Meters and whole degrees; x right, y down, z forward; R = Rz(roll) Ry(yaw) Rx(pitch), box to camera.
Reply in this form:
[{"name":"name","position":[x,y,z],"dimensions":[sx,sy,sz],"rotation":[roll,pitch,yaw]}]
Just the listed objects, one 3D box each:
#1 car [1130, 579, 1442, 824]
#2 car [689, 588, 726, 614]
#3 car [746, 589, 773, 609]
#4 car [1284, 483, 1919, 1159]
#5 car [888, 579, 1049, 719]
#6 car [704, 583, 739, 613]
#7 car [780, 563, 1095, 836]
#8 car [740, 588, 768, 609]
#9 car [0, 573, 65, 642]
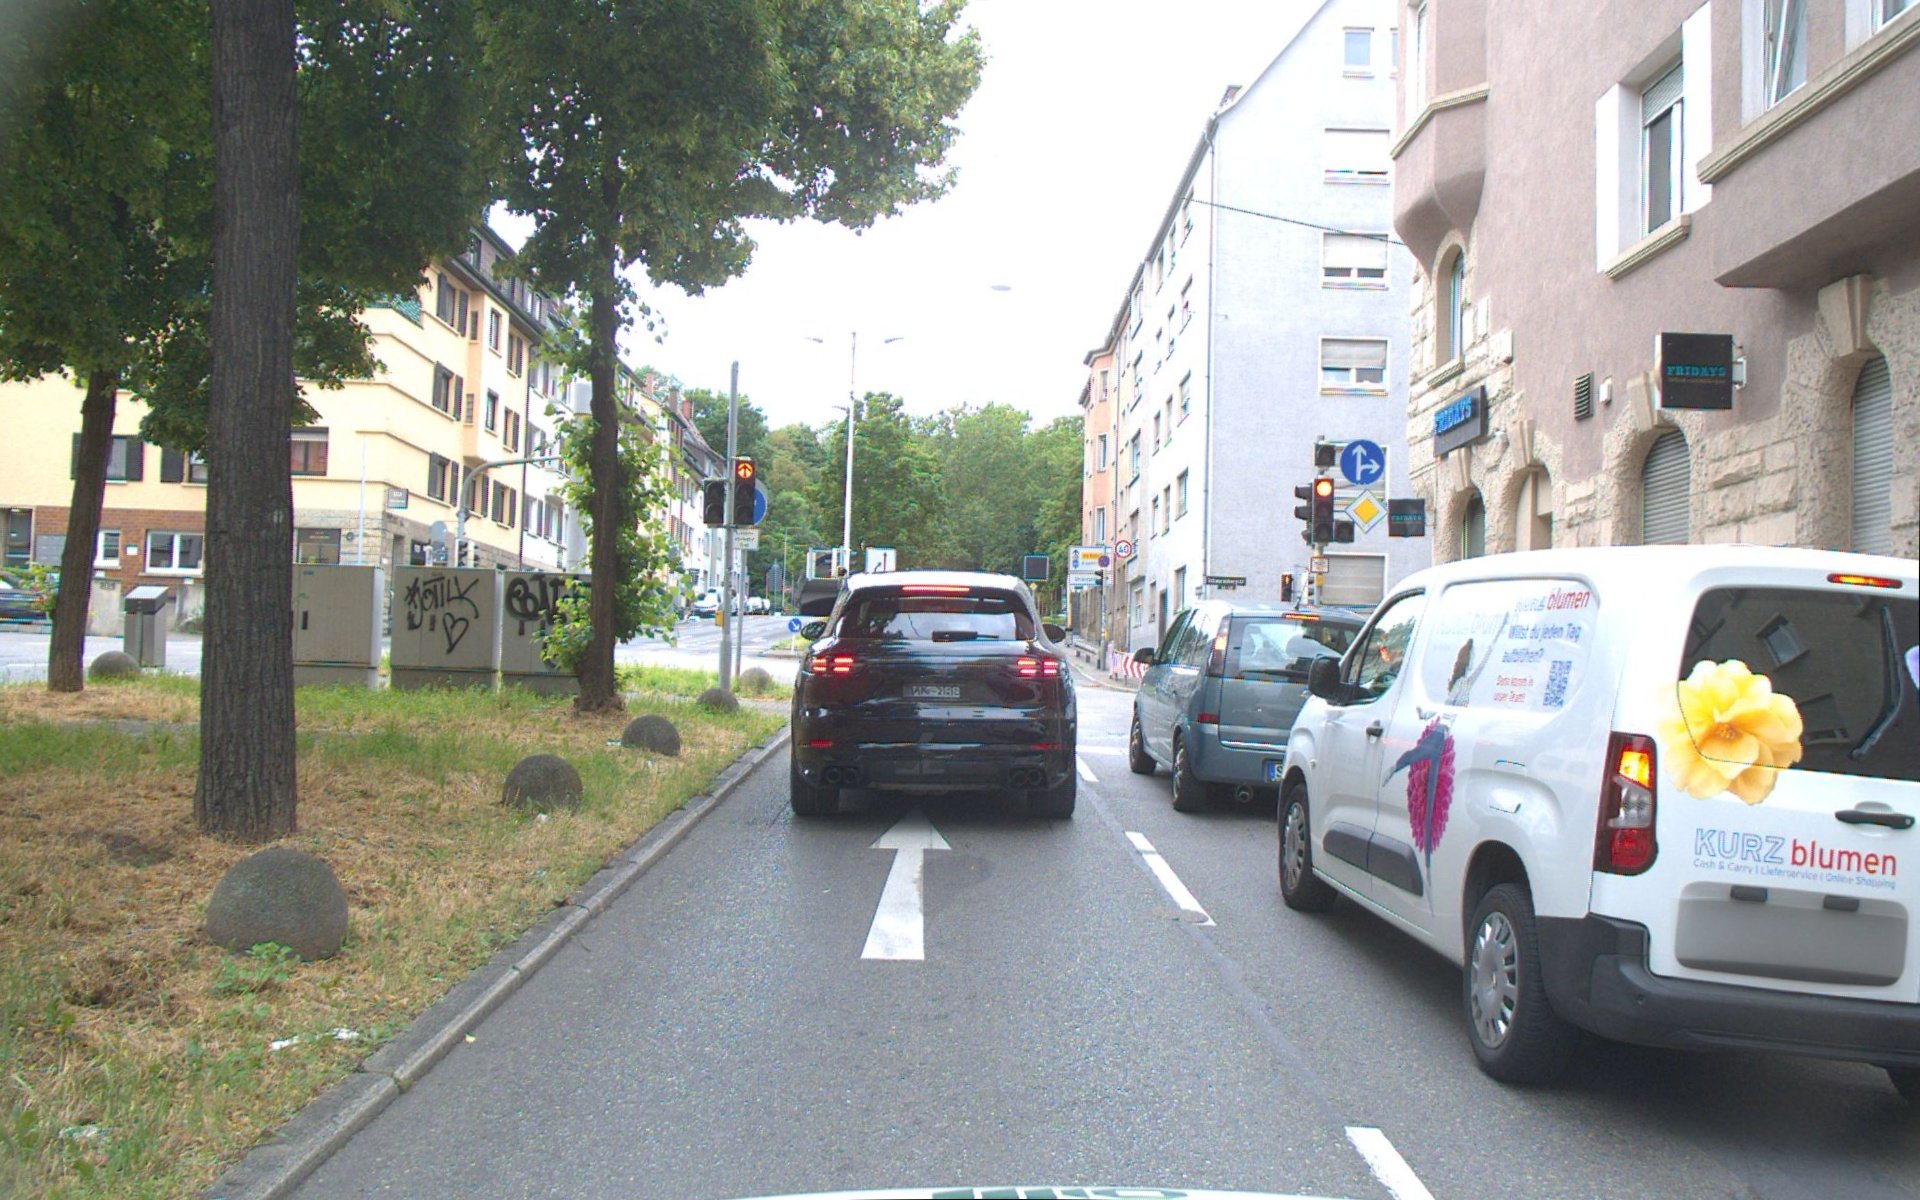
[{"name":"car","position":[2.500,0.727,13.539],"dimensions":[1.717,1.621,3.630],"rotation":[4,0,-1]},{"name":"car","position":[-15.830,0.051,103.866],"dimensions":[1.758,1.536,3.999],"rotation":[2,0,-2]},{"name":"car","position":[-16.370,-0.121,135.165],"dimensions":[1.758,1.536,3.999],"rotation":[2,0,-2]},{"name":"car","position":[2.687,0.694,7.183],"dimensions":[1.811,1.857,5.022],"rotation":[2,-1,4]},{"name":"car","position":[0.123,0.613,22.168],"dimensions":[1.953,1.682,4.000],"rotation":[1,0,0]},{"name":"car","position":[-15.688,-0.143,108.894],"dimensions":[1.758,1.841,3.999],"rotation":[2,0,-2]},{"name":"car","position":[-0.123,0.601,12.370],"dimensions":[1.953,1.681,4.000],"rotation":[1,1,0]},{"name":"car","position":[-16.176,-0.117,130.269],"dimensions":[1.758,1.536,3.999],"rotation":[2,0,-2]},{"name":"car","position":[-25.403,0.189,43.230],"dimensions":[3.916,1.694,1.877],"rotation":[0,-2,33]}]
